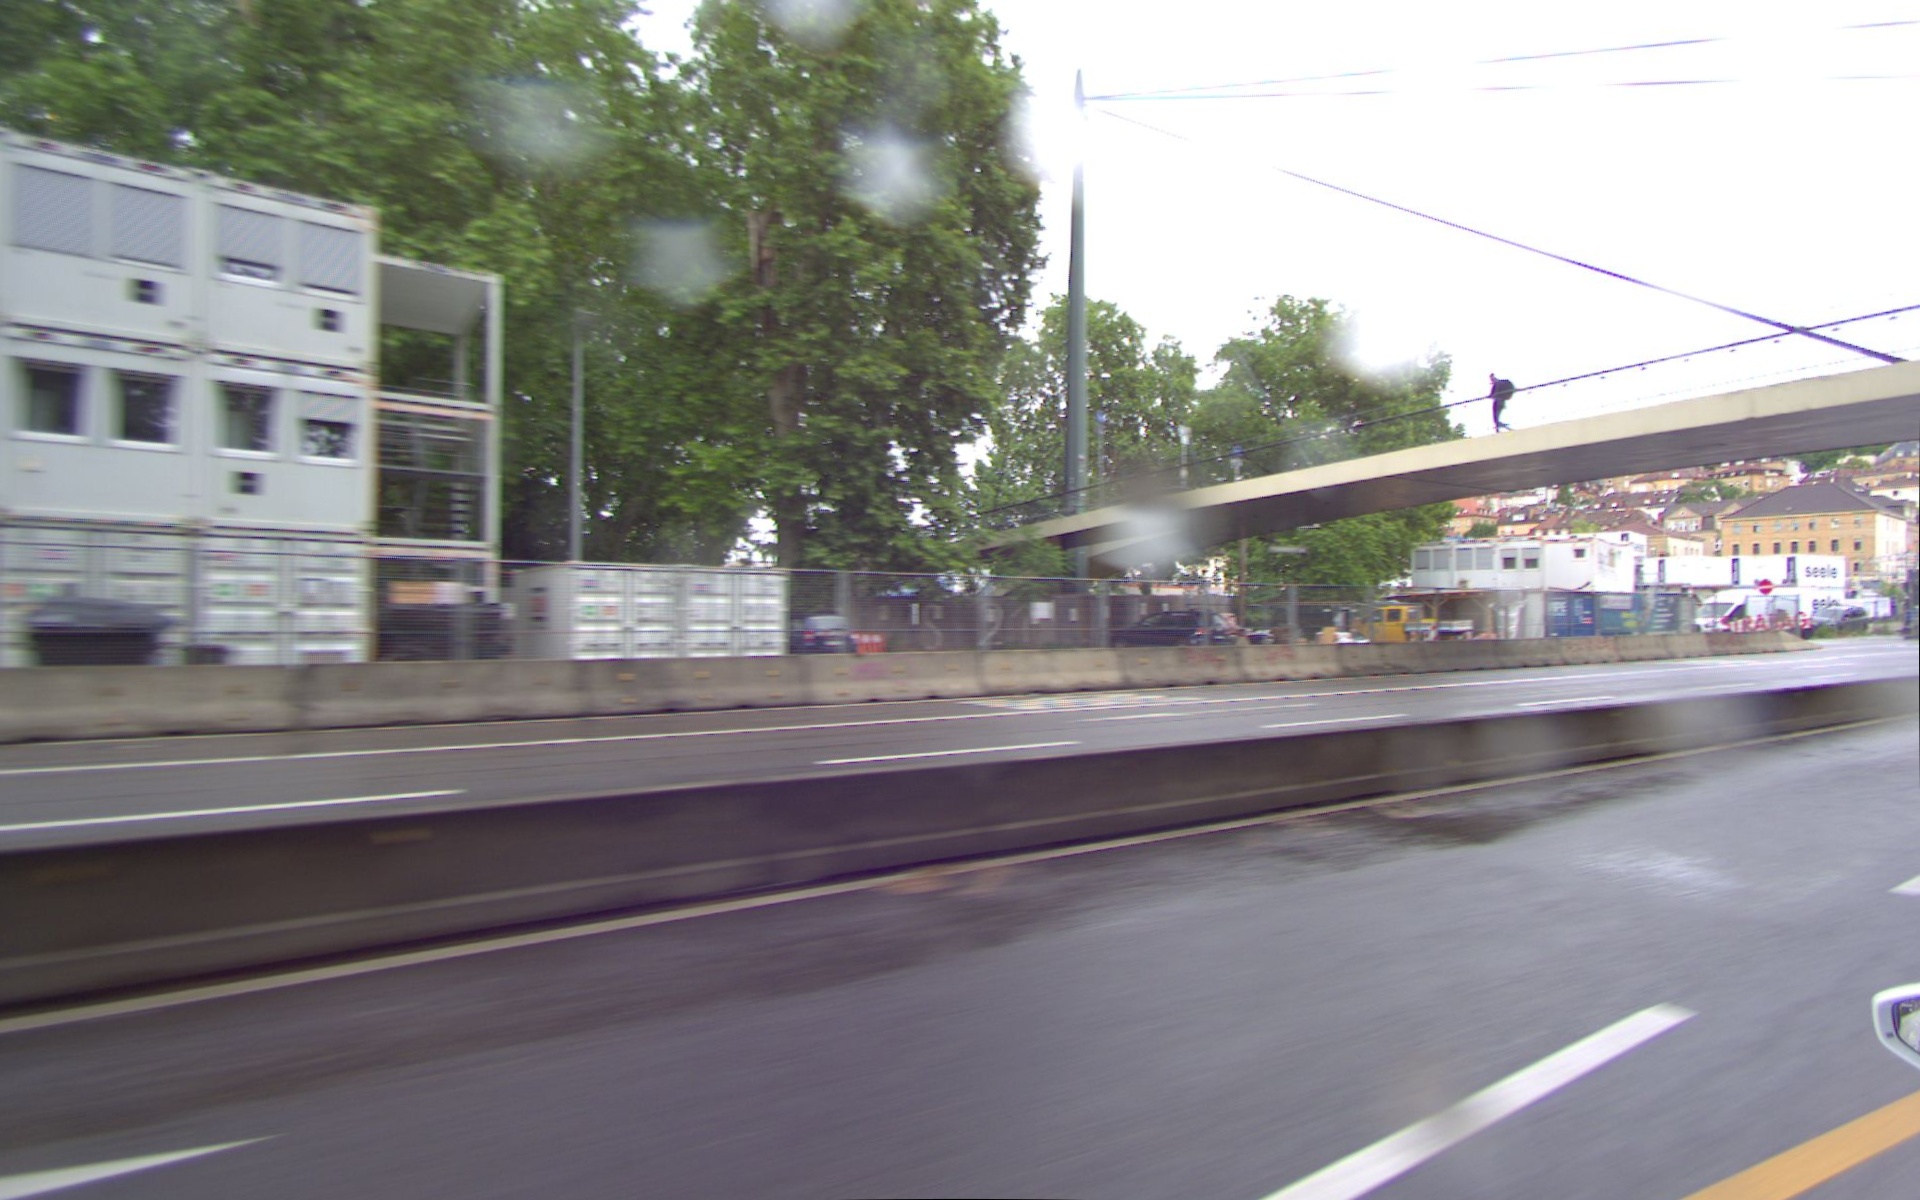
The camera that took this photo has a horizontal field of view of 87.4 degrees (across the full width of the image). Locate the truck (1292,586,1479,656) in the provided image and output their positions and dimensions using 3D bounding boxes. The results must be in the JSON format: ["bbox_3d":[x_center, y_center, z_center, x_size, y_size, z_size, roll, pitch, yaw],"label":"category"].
[{"bbox_3d":[16.457,0.855,39.153,2.673,2.484,6.222,2,-3,-41],"label":"truck"}]

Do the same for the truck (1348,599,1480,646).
[{"bbox_3d":[20.991,1.045,46.622,2.144,2.040,5.207,1,-2,-38],"label":"truck"}]

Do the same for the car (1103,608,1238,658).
[{"bbox_3d":[7.344,1.157,35.393,1.945,1.649,4.382,2,-2,-43],"label":"car"}]

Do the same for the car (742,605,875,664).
[{"bbox_3d":[-4.133,0.925,26.880,1.980,1.462,3.961,2,-2,-35],"label":"car"}]

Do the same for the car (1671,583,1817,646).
[{"bbox_3d":[37.890,0.723,48.590,5.940,2.913,1.998,1,-2,-8],"label":"car"}]

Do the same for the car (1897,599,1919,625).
[{"bbox_3d":[63.628,0.777,66.038,3.954,1.643,1.984,-1,0,-31],"label":"car"}]

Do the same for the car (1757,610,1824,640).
[{"bbox_3d":[47.355,1.385,57.264,4.128,1.586,1.752,-1,0,-32],"label":"car"}]

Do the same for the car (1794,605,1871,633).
[{"bbox_3d":[51.745,1.163,59.547,4.619,1.586,1.757,2,-2,-25],"label":"car"}]

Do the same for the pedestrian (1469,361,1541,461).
[{"bbox_3d":[13.203,-4.551,24.365,1.045,2.087,1.144,1,-2,-26],"label":"pedestrian"}]
